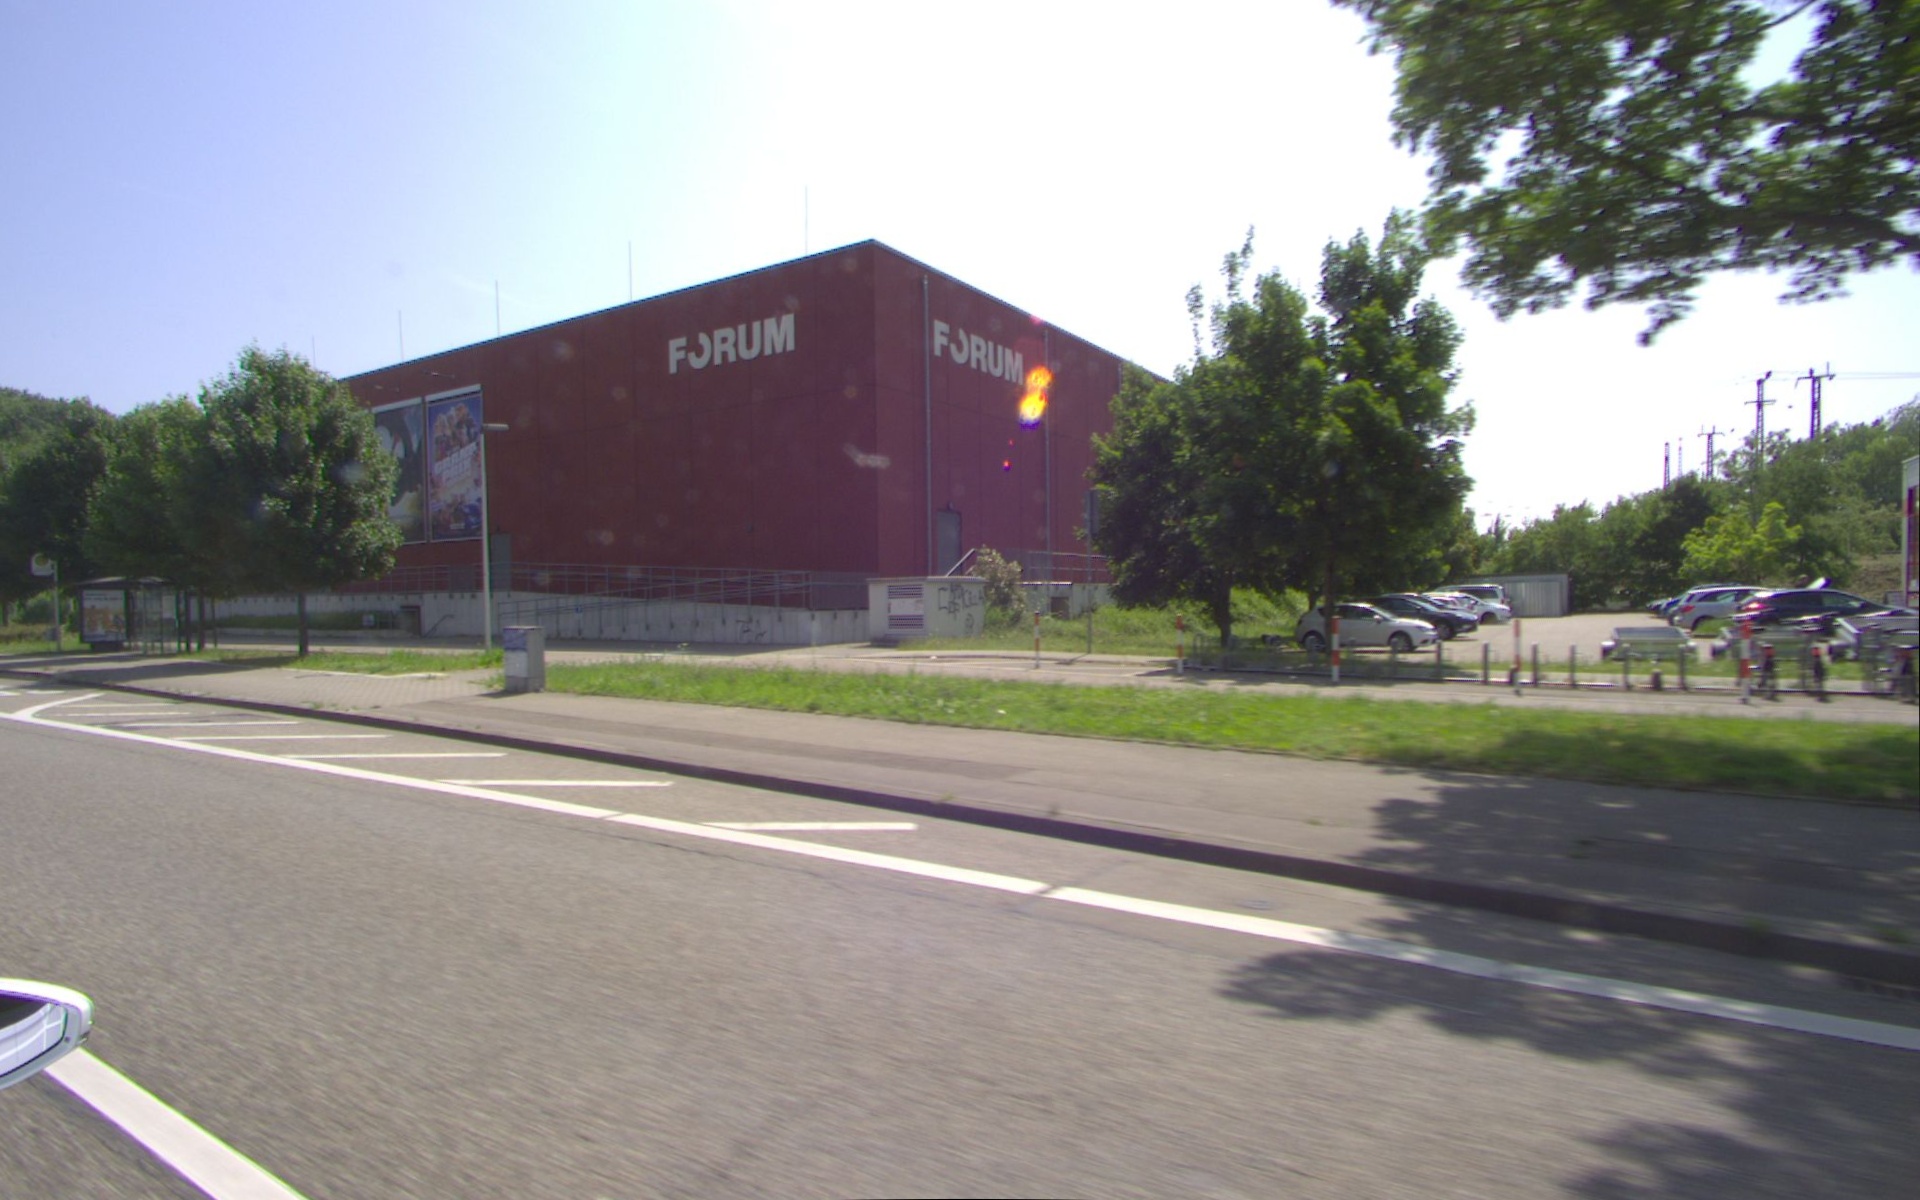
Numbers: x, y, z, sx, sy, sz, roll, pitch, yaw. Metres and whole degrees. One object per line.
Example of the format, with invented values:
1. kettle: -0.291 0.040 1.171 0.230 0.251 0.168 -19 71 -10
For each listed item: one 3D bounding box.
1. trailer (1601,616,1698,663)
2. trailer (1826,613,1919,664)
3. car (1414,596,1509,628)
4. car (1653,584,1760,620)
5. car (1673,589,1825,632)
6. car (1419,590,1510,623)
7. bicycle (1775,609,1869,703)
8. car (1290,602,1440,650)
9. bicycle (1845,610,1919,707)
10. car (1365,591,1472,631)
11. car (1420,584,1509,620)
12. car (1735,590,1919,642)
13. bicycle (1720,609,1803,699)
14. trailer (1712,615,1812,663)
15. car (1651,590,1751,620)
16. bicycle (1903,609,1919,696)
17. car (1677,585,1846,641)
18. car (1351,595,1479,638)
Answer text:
1. trailer: 13.028 0.710 18.965 1.429 0.771 2.454 0 0 34
2. trailer: 15.937 0.637 17.174 1.374 0.771 2.126 0 1 34
3. car: 24.053 0.545 48.088 3.943 1.478 1.702 0 1 32
4. car: 35.556 0.099 47.844 3.943 1.628 1.702 0 1 32
5. car: 27.144 0.342 34.607 3.943 1.391 1.717 0 1 32
6. car: 25.190 0.339 50.065 3.943 1.583 1.702 0 1 32
7. bicycle: 11.525 0.711 13.439 0.506 1.139 1.778 0 1 26
8. car: 12.001 0.744 29.723 3.916 1.331 1.644 0 1 33
9. bicycle: 12.086 0.716 12.940 0.506 1.139 1.778 0 1 26
10. car: 19.500 0.455 42.656 3.945 1.602 1.701 0 1 34
11. car: 26.300 0.092 52.204 3.948 1.795 1.700 0 1 36
12. car: 24.592 0.433 28.312 4.086 1.391 1.709 0 1 33
13. bicycle: 11.008 0.704 13.799 0.506 1.139 1.778 0 1 26
14. trailer: 14.521 0.679 18.207 1.249 0.771 2.126 0 1 34
15. car: 37.501 0.240 50.822 3.943 1.484 1.778 0 1 32
16. bicycle: 12.698 0.701 12.741 0.506 1.139 1.778 0 1 26
17. car: 25.735 0.401 32.356 4.086 1.685 1.709 0 1 33
18. car: 16.192 0.579 35.718 3.945 1.445 1.701 0 1 34
